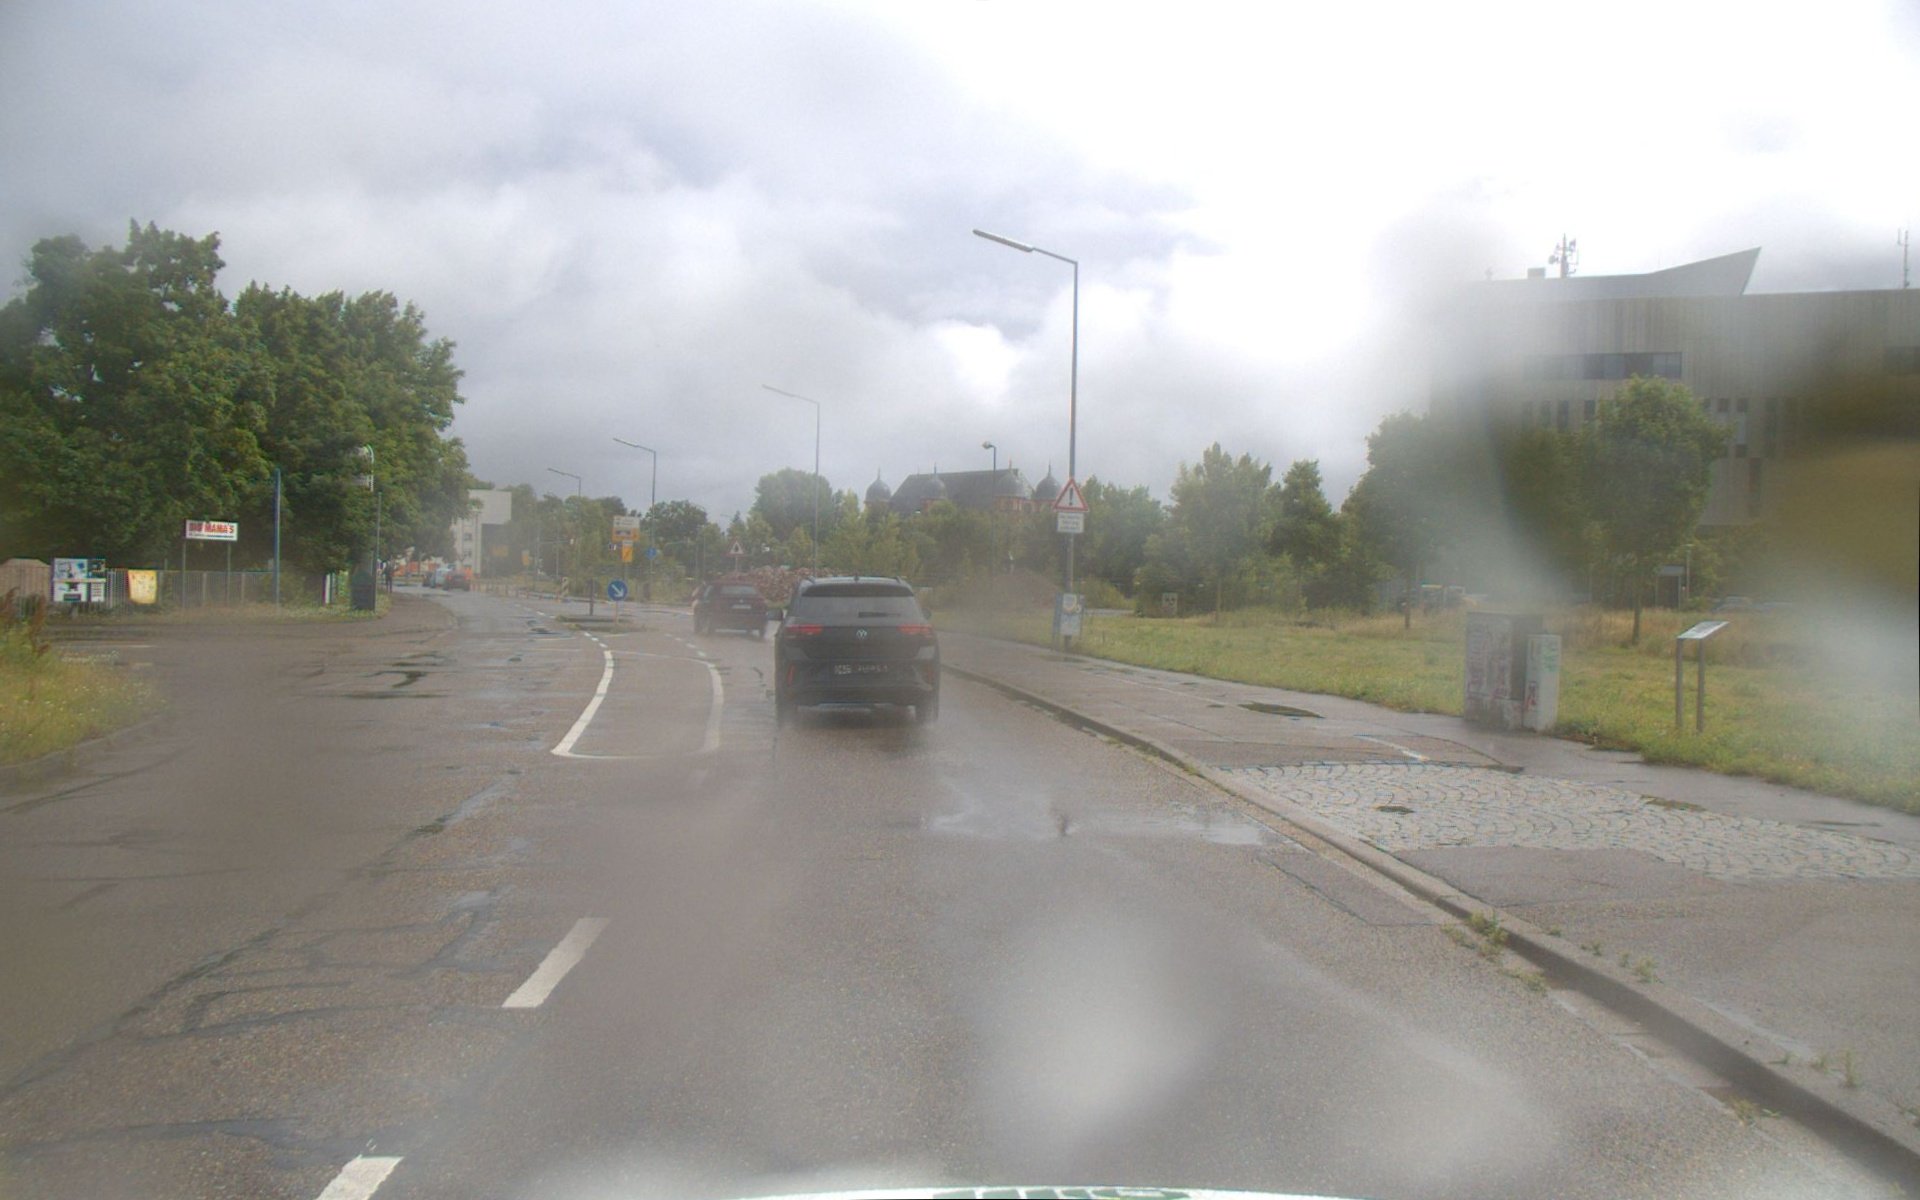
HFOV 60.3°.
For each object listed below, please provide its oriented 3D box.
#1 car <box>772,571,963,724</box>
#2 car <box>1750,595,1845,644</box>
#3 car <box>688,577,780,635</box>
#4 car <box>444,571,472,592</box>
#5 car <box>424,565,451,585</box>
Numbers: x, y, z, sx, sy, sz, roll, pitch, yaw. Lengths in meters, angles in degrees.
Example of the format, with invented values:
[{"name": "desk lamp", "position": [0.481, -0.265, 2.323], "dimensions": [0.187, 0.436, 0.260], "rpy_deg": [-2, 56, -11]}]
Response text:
[{"name": "car", "position": [-1.170, 0.452, 18.945], "dimensions": [1.949, 1.547, 3.995], "rpy_deg": [0, 1, -7]}, {"name": "car", "position": [37.117, 0.863, 73.345], "dimensions": [3.629, 2.049, 1.996], "rpy_deg": [1, 0, 31]}, {"name": "car", "position": [-6.120, 0.155, 44.470], "dimensions": [1.812, 1.467, 3.980], "rpy_deg": [-1, 0, -18]}, {"name": "car", "position": [-40.717, -1.481, 134.137], "dimensions": [1.815, 1.670, 3.990], "rpy_deg": [1, 0, -22]}, {"name": "car", "position": [-46.557, -2.218, 147.293], "dimensions": [1.968, 1.732, 3.990], "rpy_deg": [1, 0, -22]}]
